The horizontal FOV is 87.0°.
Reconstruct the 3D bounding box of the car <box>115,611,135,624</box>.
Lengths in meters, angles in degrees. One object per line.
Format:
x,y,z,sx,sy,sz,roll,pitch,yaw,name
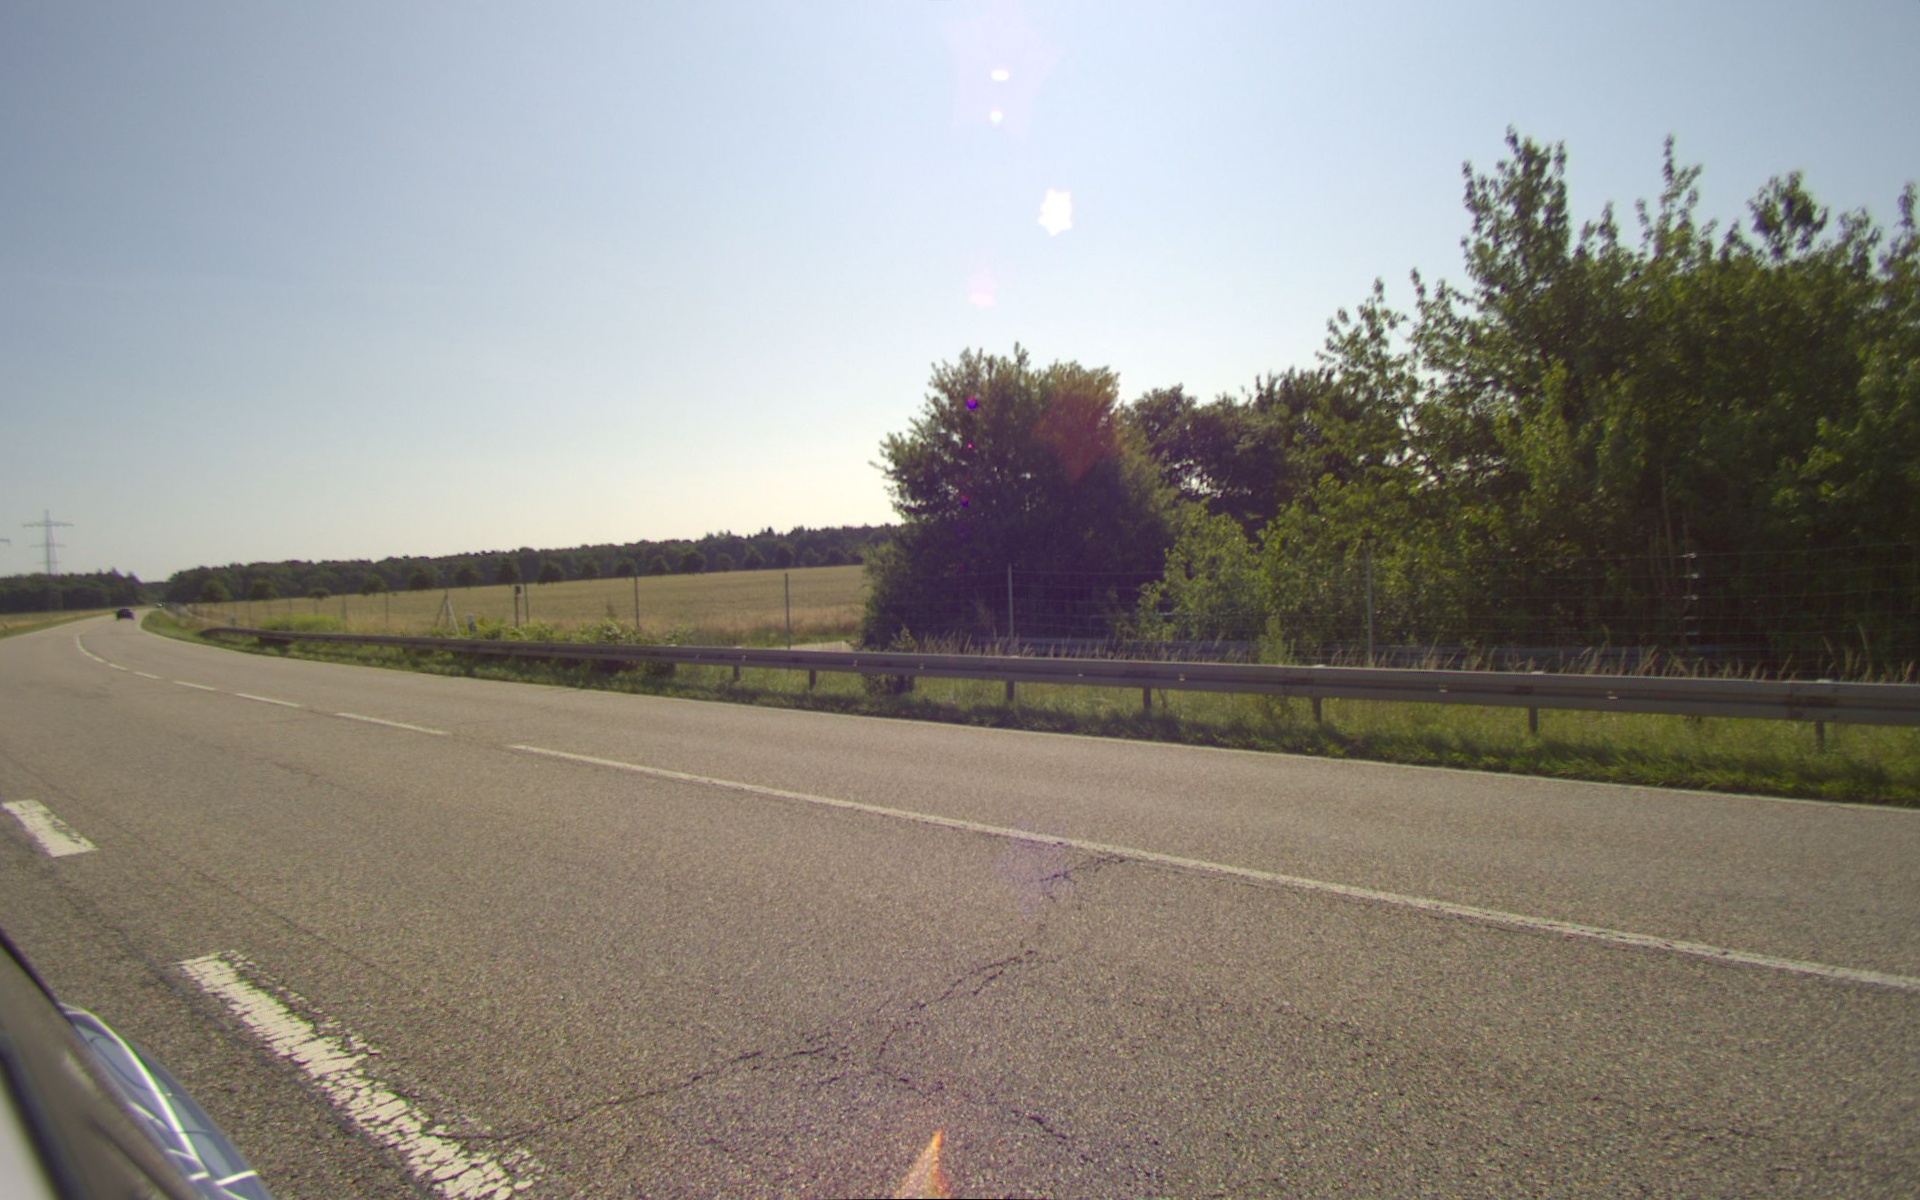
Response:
-106.408,2.224,128.916,1.806,1.519,4.168,-3,1,-41,car
